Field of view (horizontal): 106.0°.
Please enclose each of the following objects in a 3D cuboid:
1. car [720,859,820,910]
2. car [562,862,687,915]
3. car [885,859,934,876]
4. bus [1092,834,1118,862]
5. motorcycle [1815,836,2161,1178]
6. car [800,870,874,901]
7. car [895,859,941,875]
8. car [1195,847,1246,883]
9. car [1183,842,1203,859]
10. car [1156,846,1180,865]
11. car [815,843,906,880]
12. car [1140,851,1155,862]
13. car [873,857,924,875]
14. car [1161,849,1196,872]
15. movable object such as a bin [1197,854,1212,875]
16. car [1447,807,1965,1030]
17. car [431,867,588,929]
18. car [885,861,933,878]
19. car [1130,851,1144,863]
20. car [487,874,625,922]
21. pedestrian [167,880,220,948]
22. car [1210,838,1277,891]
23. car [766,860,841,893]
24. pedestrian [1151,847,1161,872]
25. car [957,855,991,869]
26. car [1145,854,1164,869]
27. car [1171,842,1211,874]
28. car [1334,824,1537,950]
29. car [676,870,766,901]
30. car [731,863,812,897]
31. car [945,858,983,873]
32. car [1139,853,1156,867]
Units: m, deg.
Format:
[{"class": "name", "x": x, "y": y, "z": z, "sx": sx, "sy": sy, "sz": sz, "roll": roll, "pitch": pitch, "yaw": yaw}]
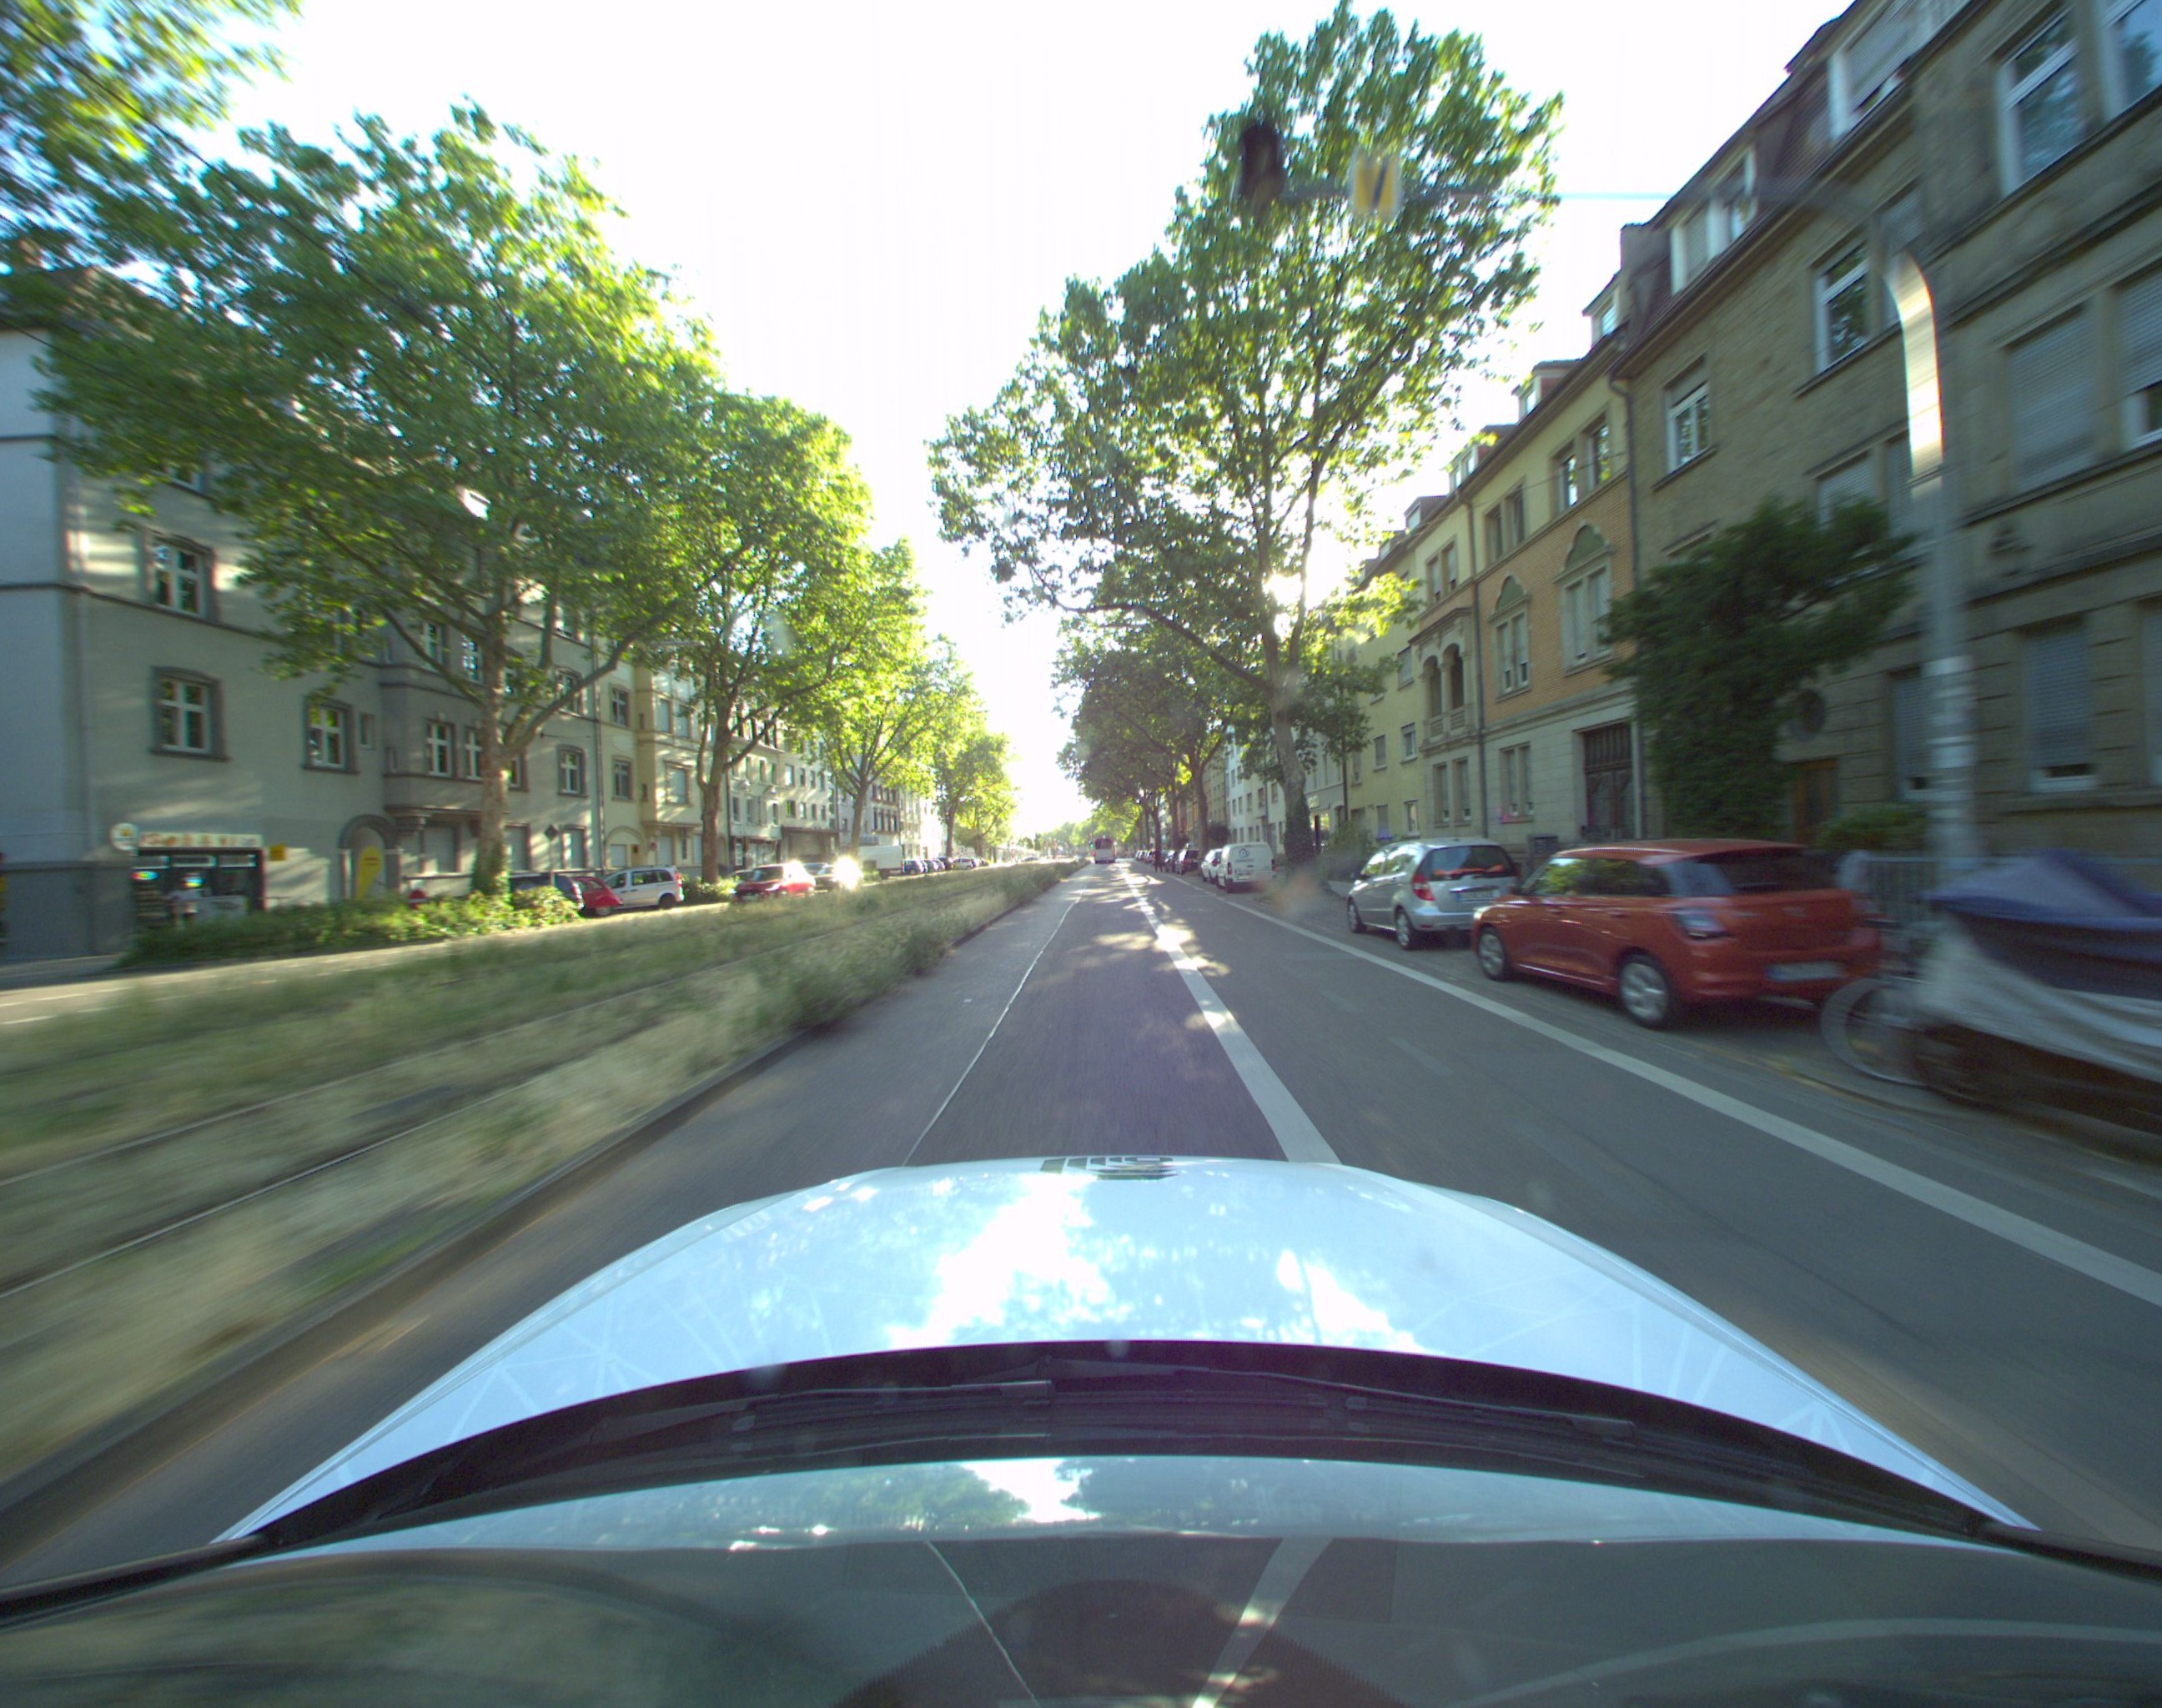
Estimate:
[{"class": "car", "x": -10.805, "y": 1.015, "z": 28.580, "sx": 1.783, "sy": 1.574, "sz": 4.002, "roll": -2, "pitch": 0, "yaw": 2}, {"class": "car", "x": -18.310, "y": 1.348, "z": 32.735, "sx": 4.021, "sy": 1.882, "sz": 1.976, "roll": -2, "pitch": -1, "yaw": -41}, {"class": "car", "x": -16.545, "y": 1.341, "z": 78.446, "sx": 4.314, "sy": 1.458, "sz": 1.845, "roll": -2, "pitch": -1, "yaw": -21}, {"class": "bus", "x": 2.967, "y": -0.660, "z": 102.317, "sx": 2.825, "sy": 3.235, "sz": 8.178, "roll": -2, "pitch": -1, "yaw": -1}, {"class": "motorcycle", "x": 4.894, "y": 0.639, "z": 3.607, "sx": 0.824, "sy": 1.398, "sz": 2.370, "roll": -4, "pitch": 1, "yaw": -11}, {"class": "car", "x": -13.101, "y": 1.648, "z": 44.115, "sx": 1.735, "sy": 1.460, "sz": 4.939, "roll": -2, "pitch": -1, "yaw": 10}, {"class": "car", "x": -17.046, "y": 1.352, "z": 85.257, "sx": 4.334, "sy": 1.458, "sz": 1.837, "roll": -2, "pitch": -1, "yaw": -39}, {"class": "car", "x": 6.243, "y": 0.468, "z": 36.731, "sx": 1.639, "sy": 1.486, "sz": 4.001, "roll": -3, "pitch": 0, "yaw": 1}, {"class": "car", "x": 13.426, "y": -0.416, "z": 97.477, "sx": 1.876, "sy": 1.860, "sz": 4.327, "roll": -2, "pitch": -1, "yaw": 2}, {"class": "car", "x": 7.685, "y": 0.123, "z": 72.419, "sx": 1.774, "sy": 1.516, "sz": 4.002, "roll": -3, "pitch": 0, "yaw": 2}, {"class": "car", "x": -17.831, "y": 0.574, "z": 65.920, "sx": 6.960, "sy": 2.678, "sz": 2.171, "roll": -2, "pitch": -1, "yaw": -20}, {"class": "car", "x": 9.145, "y": 0.327, "z": 112.726, "sx": 1.774, "sy": 1.516, "sz": 4.002, "roll": -3, "pitch": 0, "yaw": 2}, {"class": "car", "x": -16.950, "y": 1.133, "z": 75.655, "sx": 4.290, "sy": 1.458, "sz": 1.856, "roll": -2, "pitch": -1, "yaw": -4}, {"class": "car", "x": 6.710, "y": 0.457, "z": 56.433, "sx": 1.681, "sy": 1.486, "sz": 3.996, "roll": -2, "pitch": -1, "yaw": -3}, {"class": "movable object such as a bin", "x": 6.583, "y": 0.571, "z": 43.539, "sx": 0.671, "sy": 1.045, "sz": 0.880, "roll": -3, "pitch": 1, "yaw": 1}, {"class": "car", "x": 5.470, "y": 0.491, "z": 7.959, "sx": 1.987, "sy": 1.560, "sz": 3.980, "roll": -2, "pitch": -1, "yaw": 0}, {"class": "car", "x": -18.403, "y": 1.380, "z": 26.332, "sx": 4.019, "sy": 1.723, "sz": 1.764, "roll": -2, "pitch": -1, "yaw": -38}, {"class": "car", "x": -17.278, "y": 1.554, "z": 82.025, "sx": 4.334, "sy": 1.458, "sz": 1.837, "roll": -2, "pitch": -1, "yaw": -39}, {"class": "car", "x": 8.213, "y": 0.427, "z": 119.333, "sx": 1.774, "sy": 1.516, "sz": 4.002, "roll": -3, "pitch": 0, "yaw": 2}, {"class": "car", "x": -18.706, "y": 1.541, "z": 29.086, "sx": 4.019, "sy": 1.448, "sz": 1.568, "roll": -2, "pitch": -1, "yaw": -38}, {"class": "pedestrian", "x": -23.998, "y": 1.602, "z": 22.035, "sx": 0.624, "sy": 1.759, "sz": 0.674, "roll": -3, "pitch": 0, "yaw": 6}, {"class": "car", "x": 5.963, "y": 0.374, "z": 30.322, "sx": 1.737, "sy": 1.770, "sz": 4.397, "roll": -2, "pitch": -1, "yaw": 3}, {"class": "car", "x": -17.058, "y": 1.393, "z": 50.156, "sx": 4.013, "sy": 1.699, "sz": 1.838, "roll": -4, "pitch": 0, "yaw": -30}, {"class": "pedestrian", "x": 5.421, "y": 0.424, "z": 58.876, "sx": 0.574, "sy": 1.779, "sz": 0.514, "roll": -3, "pitch": 0, "yaw": 1}, {"class": "car", "x": -14.653, "y": 1.118, "z": 111.759, "sx": 4.334, "sy": 1.738, "sz": 1.837, "roll": -2, "pitch": -1, "yaw": -39}, {"class": "car", "x": 8.126, "y": 0.802, "z": 90.143, "sx": 1.774, "sy": 1.516, "sz": 4.002, "roll": -3, "pitch": 0, "yaw": 2}, {"class": "car", "x": 6.601, "y": 0.251, "z": 49.407, "sx": 1.738, "sy": 1.770, "sz": 4.988, "roll": -2, "pitch": -1, "yaw": 0}, {"class": "car", "x": 5.497, "y": 0.476, "z": 13.188, "sx": 1.737, "sy": 1.690, "sz": 3.855, "roll": -2, "pitch": -1, "yaw": 3}, {"class": "car", "x": -18.247, "y": 1.587, "z": 41.291, "sx": 4.012, "sy": 1.356, "sz": 1.570, "roll": -2, "pitch": -1, "yaw": -30}, {"class": "car", "x": -17.786, "y": 1.475, "z": 46.793, "sx": 4.013, "sy": 1.553, "sz": 1.838, "roll": -5, "pitch": 2, "yaw": -30}, {"class": "car", "x": -14.494, "y": 1.451, "z": 101.248, "sx": 4.334, "sy": 1.738, "sz": 1.837, "roll": -2, "pitch": -1, "yaw": -39}, {"class": "car", "x": 8.065, "y": 0.721, "z": 98.356, "sx": 1.774, "sy": 1.516, "sz": 4.002, "roll": -3, "pitch": 0, "yaw": 2}]
